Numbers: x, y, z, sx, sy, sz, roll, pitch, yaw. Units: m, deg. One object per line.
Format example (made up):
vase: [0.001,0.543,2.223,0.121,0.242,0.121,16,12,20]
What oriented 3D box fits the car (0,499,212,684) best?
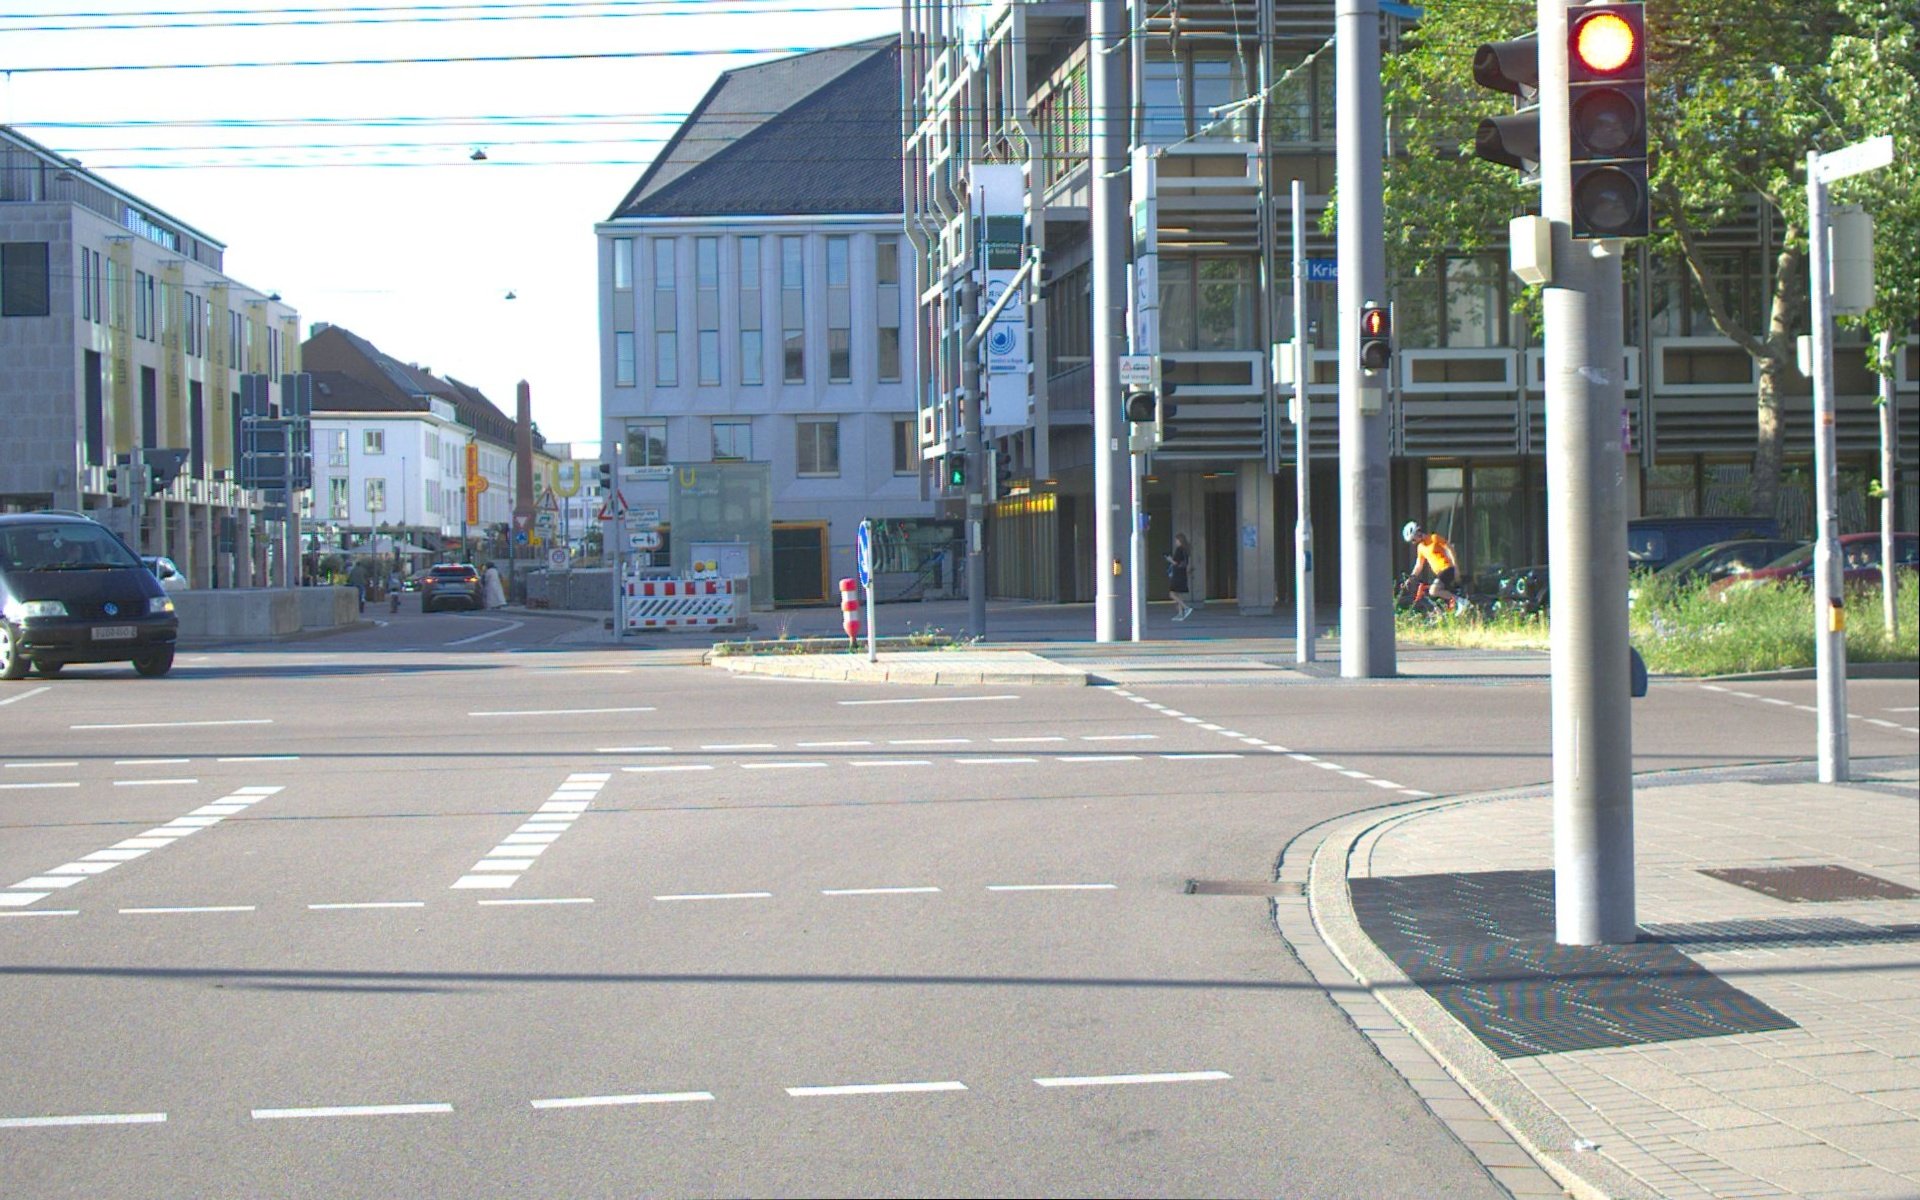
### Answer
car: [-9.586,-0.158,35.781,1.994,1.736,4.646,-2,3,-33]

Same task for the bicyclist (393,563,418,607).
bicyclist: [-18.819,-0.504,116.685,0.746,1.456,0.767,-1,1,-4]

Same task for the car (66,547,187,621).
car: [-19.014,-0.392,78.596,1.993,1.617,4.238,-1,1,-4]

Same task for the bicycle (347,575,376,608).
bicycle: [-20.106,-0.283,115.568,0.741,1.042,2.432,-1,1,-5]

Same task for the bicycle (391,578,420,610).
bicycle: [-18.815,-0.211,116.677,0.741,1.042,2.432,-1,1,-5]

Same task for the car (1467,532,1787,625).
car: [10.566,-0.360,54.658,4.630,1.351,2.001,-1,2,-5]

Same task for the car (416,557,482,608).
car: [-16.181,-0.567,108.959,1.993,1.546,4.001,-1,1,-8]

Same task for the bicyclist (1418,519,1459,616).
bicyclist: [6.669,-0.457,47.918,0.508,1.333,0.452,-1,1,1]

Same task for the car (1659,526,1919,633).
car: [12.117,-0.300,47.043,4.630,1.351,2.001,-1,2,-5]

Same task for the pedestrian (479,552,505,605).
pedestrian: [-14.850,-0.688,109.120,0.714,1.662,0.987,-1,1,-3]

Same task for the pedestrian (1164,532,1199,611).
pedestrian: [4.323,-0.556,67.023,0.623,1.513,0.653,-1,1,7]

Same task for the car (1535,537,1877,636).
car: [11.174,-0.223,51.654,4.630,1.351,2.001,-1,2,-5]

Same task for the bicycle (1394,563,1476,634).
bicycle: [6.622,-0.021,47.921,1.076,0.967,0.458,-1,1,1]

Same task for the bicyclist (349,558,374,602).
bicyclist: [-20.111,-0.681,115.518,0.746,1.456,0.767,-1,1,-4]
